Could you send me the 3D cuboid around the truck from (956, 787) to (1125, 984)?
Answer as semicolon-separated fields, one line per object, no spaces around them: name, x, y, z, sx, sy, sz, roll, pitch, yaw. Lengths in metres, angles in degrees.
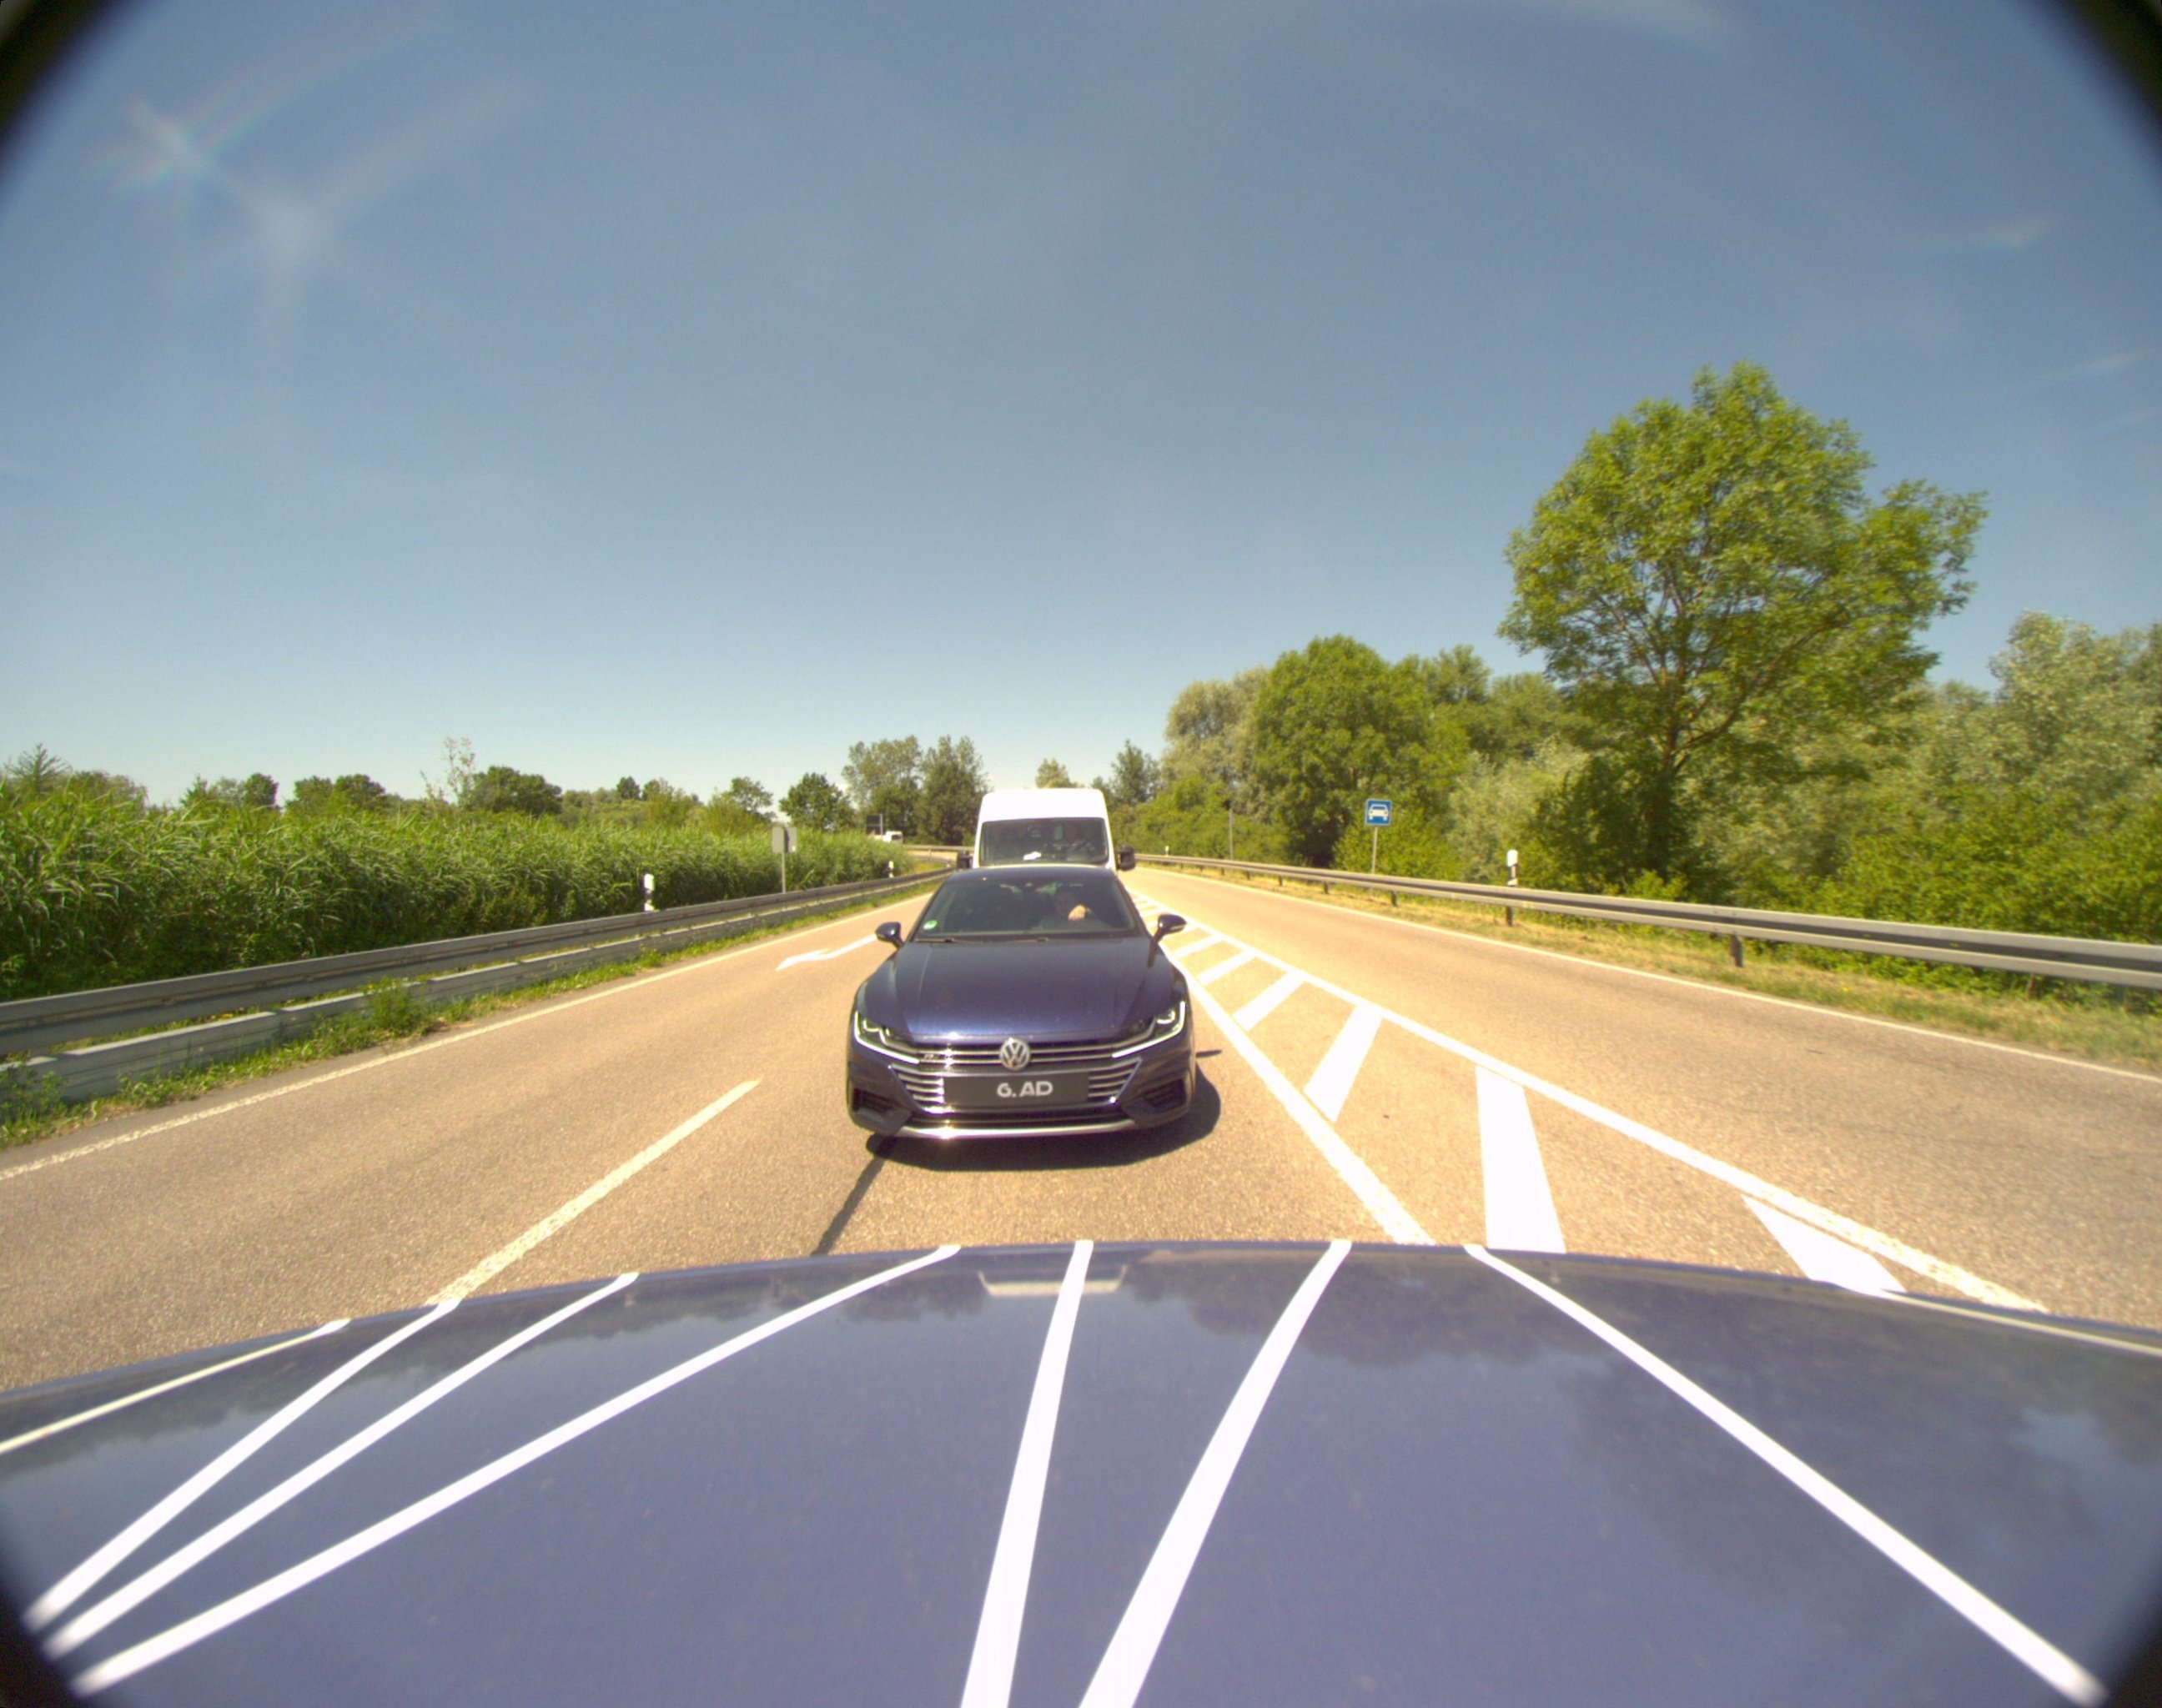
truck;-0.671;0.352;12.280;2.011;2.365;5.909;-2;1;-4

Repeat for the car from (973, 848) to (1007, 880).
car;-4.998;0.507;41.501;1.673;1.591;3.550;-2;1;-8

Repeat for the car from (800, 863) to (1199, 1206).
car;-0.350;0.874;5.746;1.819;1.454;4.415;-2;1;1

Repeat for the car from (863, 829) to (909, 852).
car;-23.154;-1.566;90.093;5.574;2.404;2.002;-1;6;38
